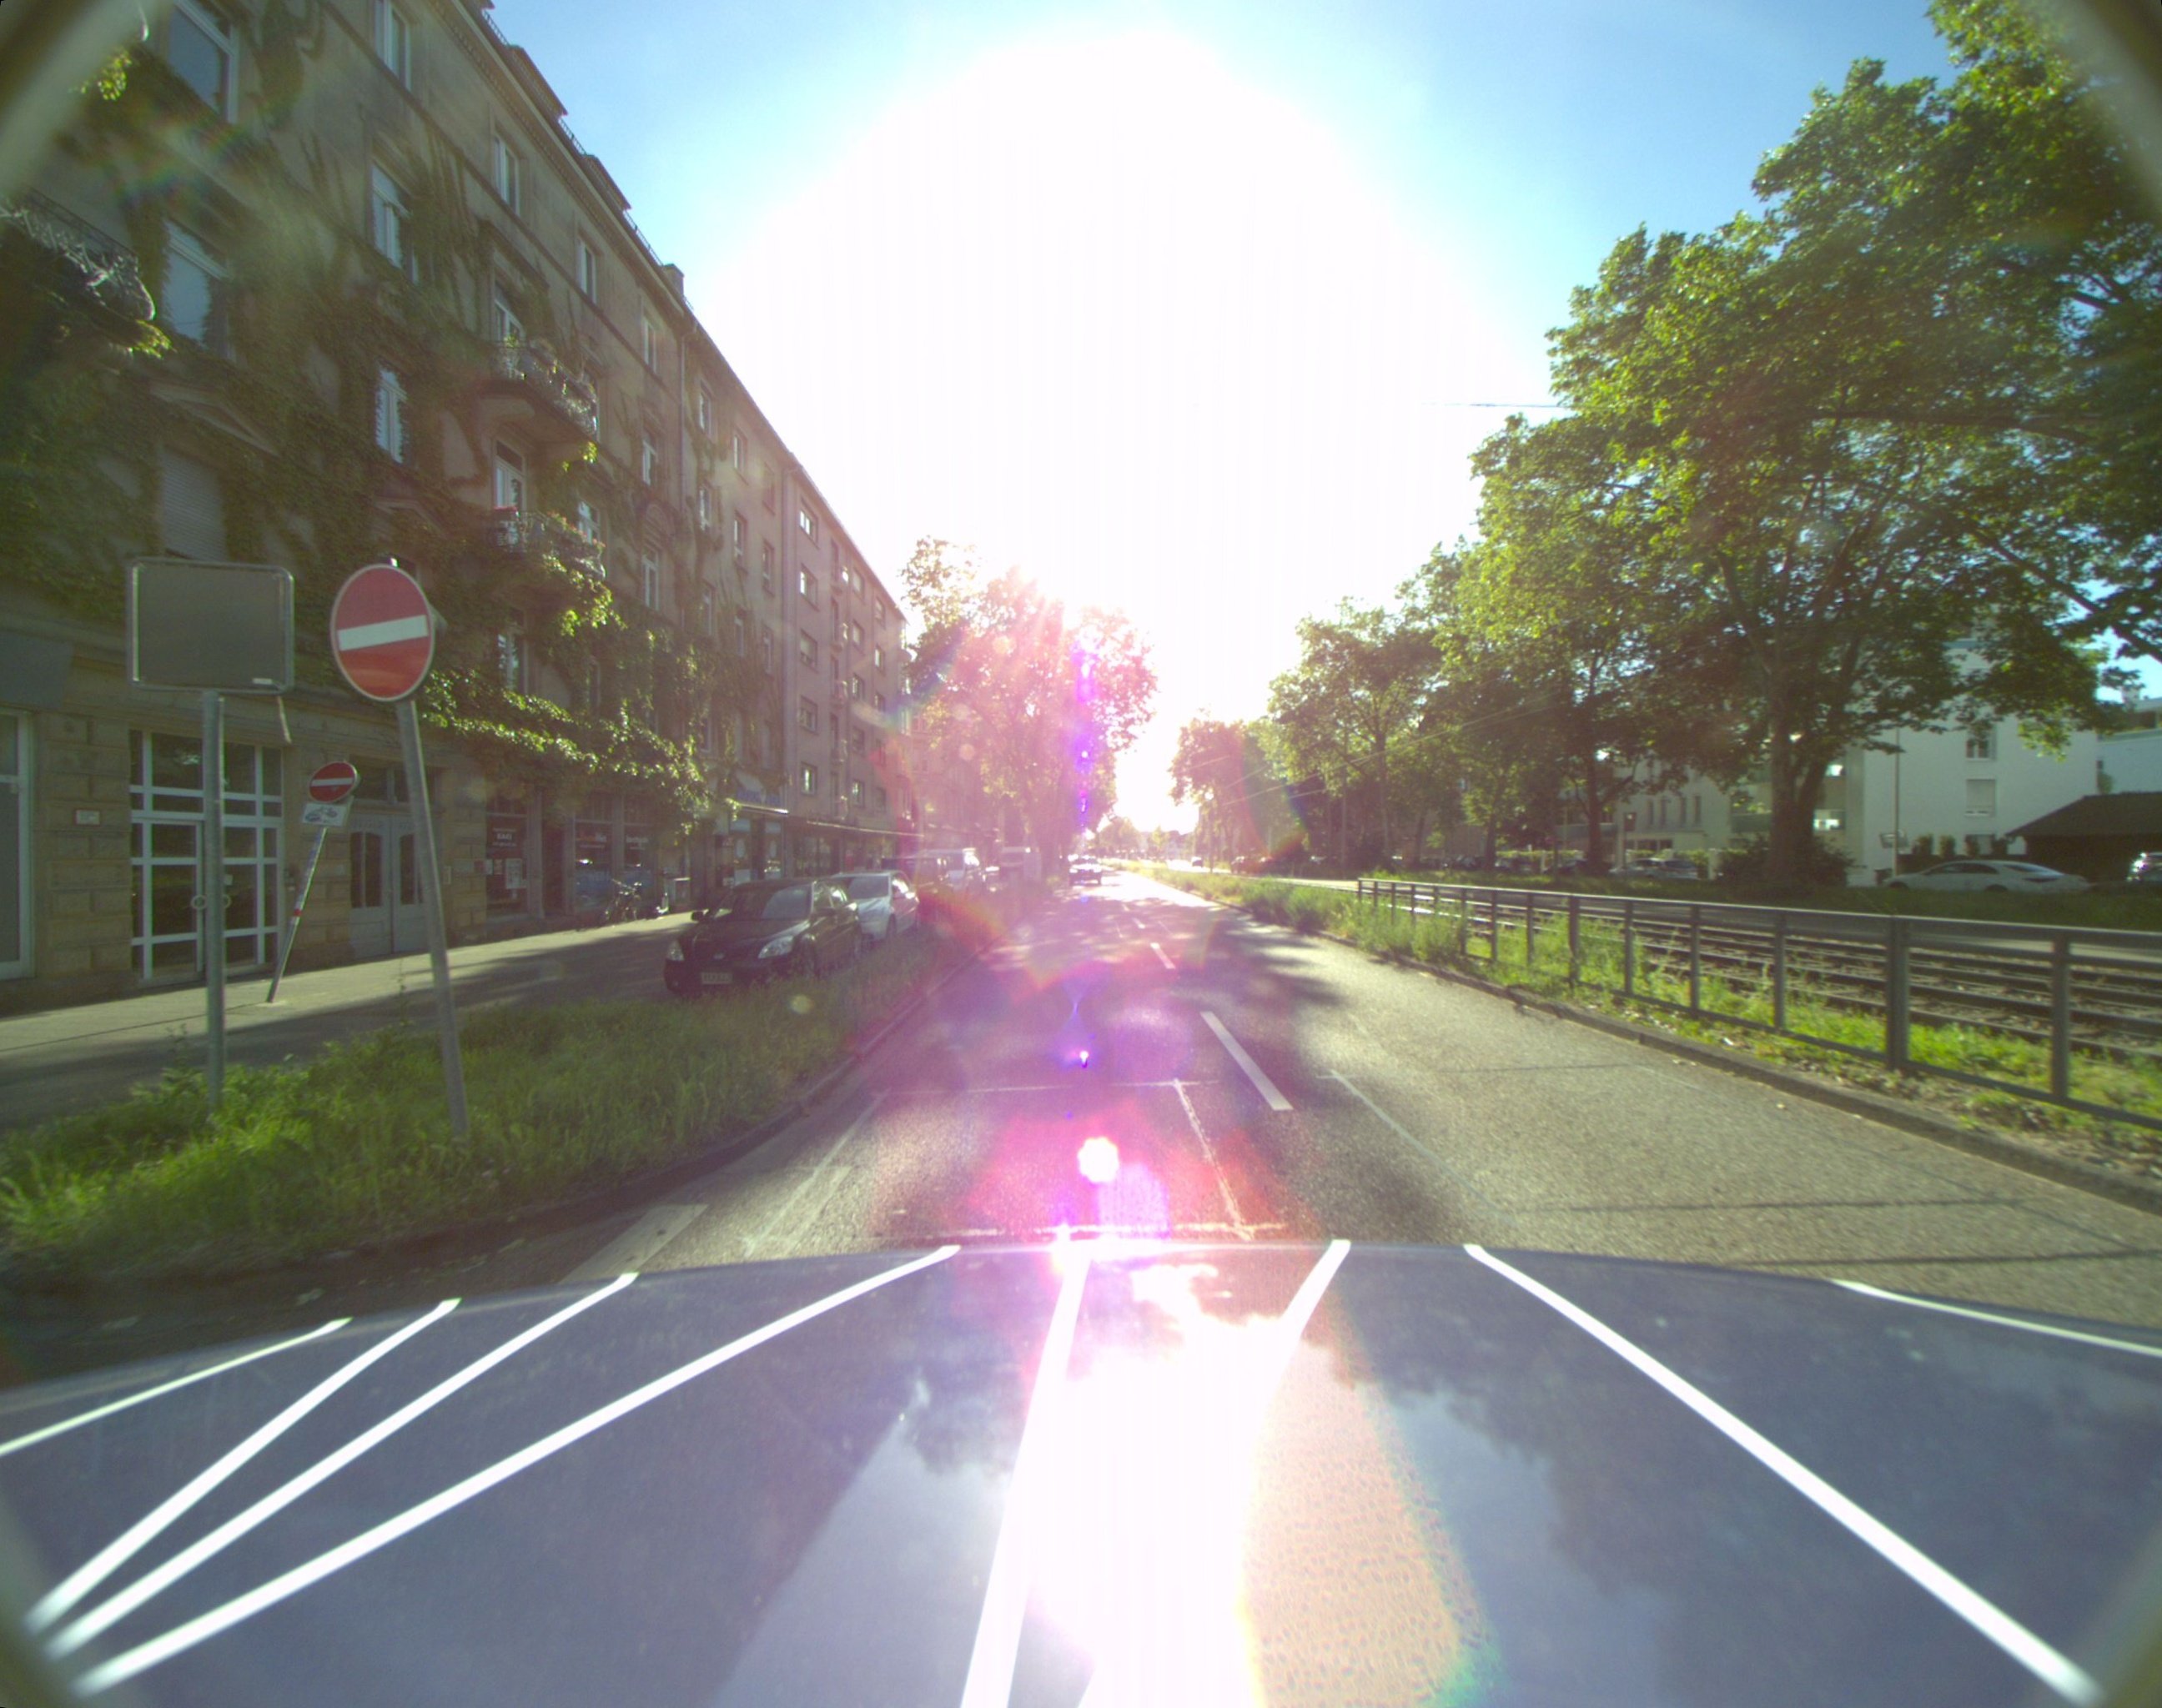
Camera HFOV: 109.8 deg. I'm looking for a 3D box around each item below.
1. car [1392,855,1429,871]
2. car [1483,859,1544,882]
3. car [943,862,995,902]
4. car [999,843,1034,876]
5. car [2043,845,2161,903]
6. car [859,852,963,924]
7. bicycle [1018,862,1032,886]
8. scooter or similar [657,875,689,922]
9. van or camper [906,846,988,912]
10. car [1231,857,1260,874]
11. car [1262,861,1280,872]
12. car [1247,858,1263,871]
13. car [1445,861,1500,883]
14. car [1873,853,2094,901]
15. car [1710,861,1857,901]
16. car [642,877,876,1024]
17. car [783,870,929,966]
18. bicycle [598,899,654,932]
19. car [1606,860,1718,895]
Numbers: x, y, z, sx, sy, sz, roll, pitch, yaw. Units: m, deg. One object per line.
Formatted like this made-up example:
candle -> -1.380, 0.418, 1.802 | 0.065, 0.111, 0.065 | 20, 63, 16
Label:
car -> 32.026, 0.885, 73.978 | 1.998, 1.477, 4.000 | 0, 0, 1
car -> 28.185, 1.040, 49.663 | 1.801, 1.464, 4.000 | 0, 0, 1
car -> -4.496, 1.081, 30.841 | 1.594, 1.470, 3.828 | 0, 0, -1
car -> -4.935, 0.419, 59.127 | 2.079, 2.420, 5.856 | -1, 0, 1
car -> 27.981, 0.504, 19.553 | 1.779, 1.456, 3.697 | 0, 0, 1
car -> -4.463, 0.839, 20.558 | 1.869, 1.753, 4.000 | 0, 0, 1
bicycle -> -2.949, 1.059, 40.342 | 0.466, 1.207, 1.751 | 0, 0, 4
scooter or similar -> -11.120, 1.190, 20.747 | 0.638, 1.167, 1.731 | 0, 0, -24
van or camper -> -4.384, 0.757, 25.676 | 1.889, 2.002, 5.094 | 0, 0, 0
car -> 16.843, 1.134, 77.982 | 1.862, 1.638, 4.460 | 0, 0, -1
car -> 27.415, 1.833, 109.661 | 1.771, 1.477, 3.688 | 0, 0, 1
car -> 27.188, 1.648, 118.863 | 1.998, 2.002, 4.001 | 0, 0, 5
car -> 28.146, 1.241, 54.743 | 1.998, 1.477, 4.000 | 0, 0, 1
car -> 28.078, 0.662, 23.909 | 1.644, 1.316, 4.461 | 2, 0, 1
car -> 28.207, 1.035, 30.727 | 1.998, 1.444, 4.319 | 0, 0, 1
car -> -4.303, 1.191, 10.881 | 1.645, 1.508, 3.999 | -3, 0, -1
car -> -4.346, 1.171, 15.331 | 1.743, 1.508, 3.999 | -3, 0, -1
bicycle -> -11.343, 1.516, 18.970 | 0.469, 0.702, 1.513 | 0, 0, 0
car -> 28.573, 1.101, 37.595 | 1.998, 1.582, 4.655 | 0, 0, 1
